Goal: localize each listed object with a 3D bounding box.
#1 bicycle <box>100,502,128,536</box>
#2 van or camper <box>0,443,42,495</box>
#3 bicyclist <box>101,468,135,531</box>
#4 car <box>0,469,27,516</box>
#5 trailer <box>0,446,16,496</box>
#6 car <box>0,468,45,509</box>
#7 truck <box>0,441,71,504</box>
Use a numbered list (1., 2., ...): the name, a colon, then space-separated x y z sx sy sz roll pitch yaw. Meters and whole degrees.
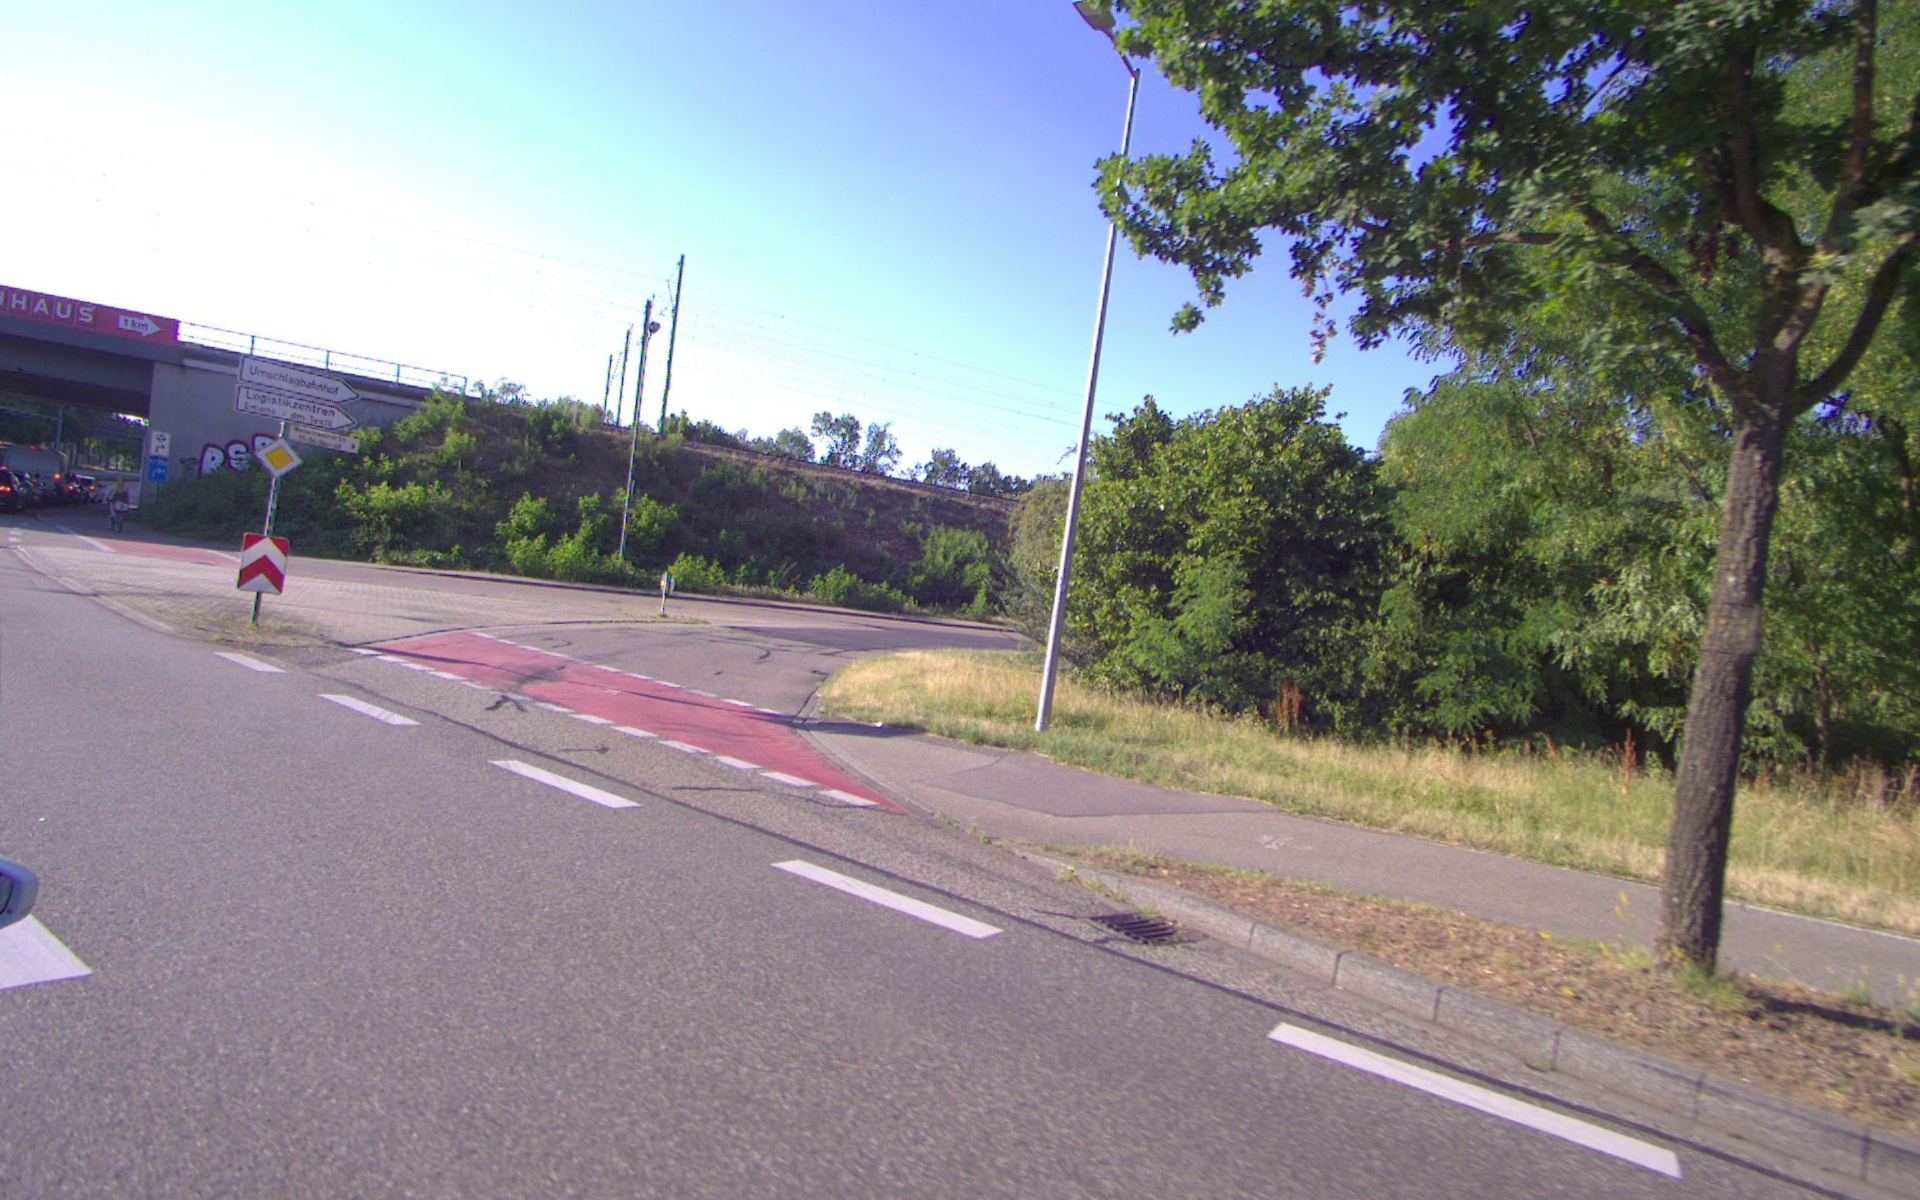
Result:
1. bicycle: -27.475 -2.642 32.684 0.576 0.975 2.854 6 0 -39
2. van or camper: -54.531 -7.543 57.346 1.980 2.602 5.867 7 0 -32
3. bicyclist: -27.476 -3.282 32.826 0.679 1.930 0.824 6 1 -39
4. car: -34.726 -3.964 35.828 1.733 1.472 4.554 8 1 -39
5. trailer: -51.483 -6.915 52.993 1.852 2.496 3.795 5 1 -35
6. car: -39.572 -4.653 41.860 1.762 1.514 3.793 6 1 -37
7. truck: -43.975 -5.998 47.849 2.100 2.552 4.354 5 1 -38
